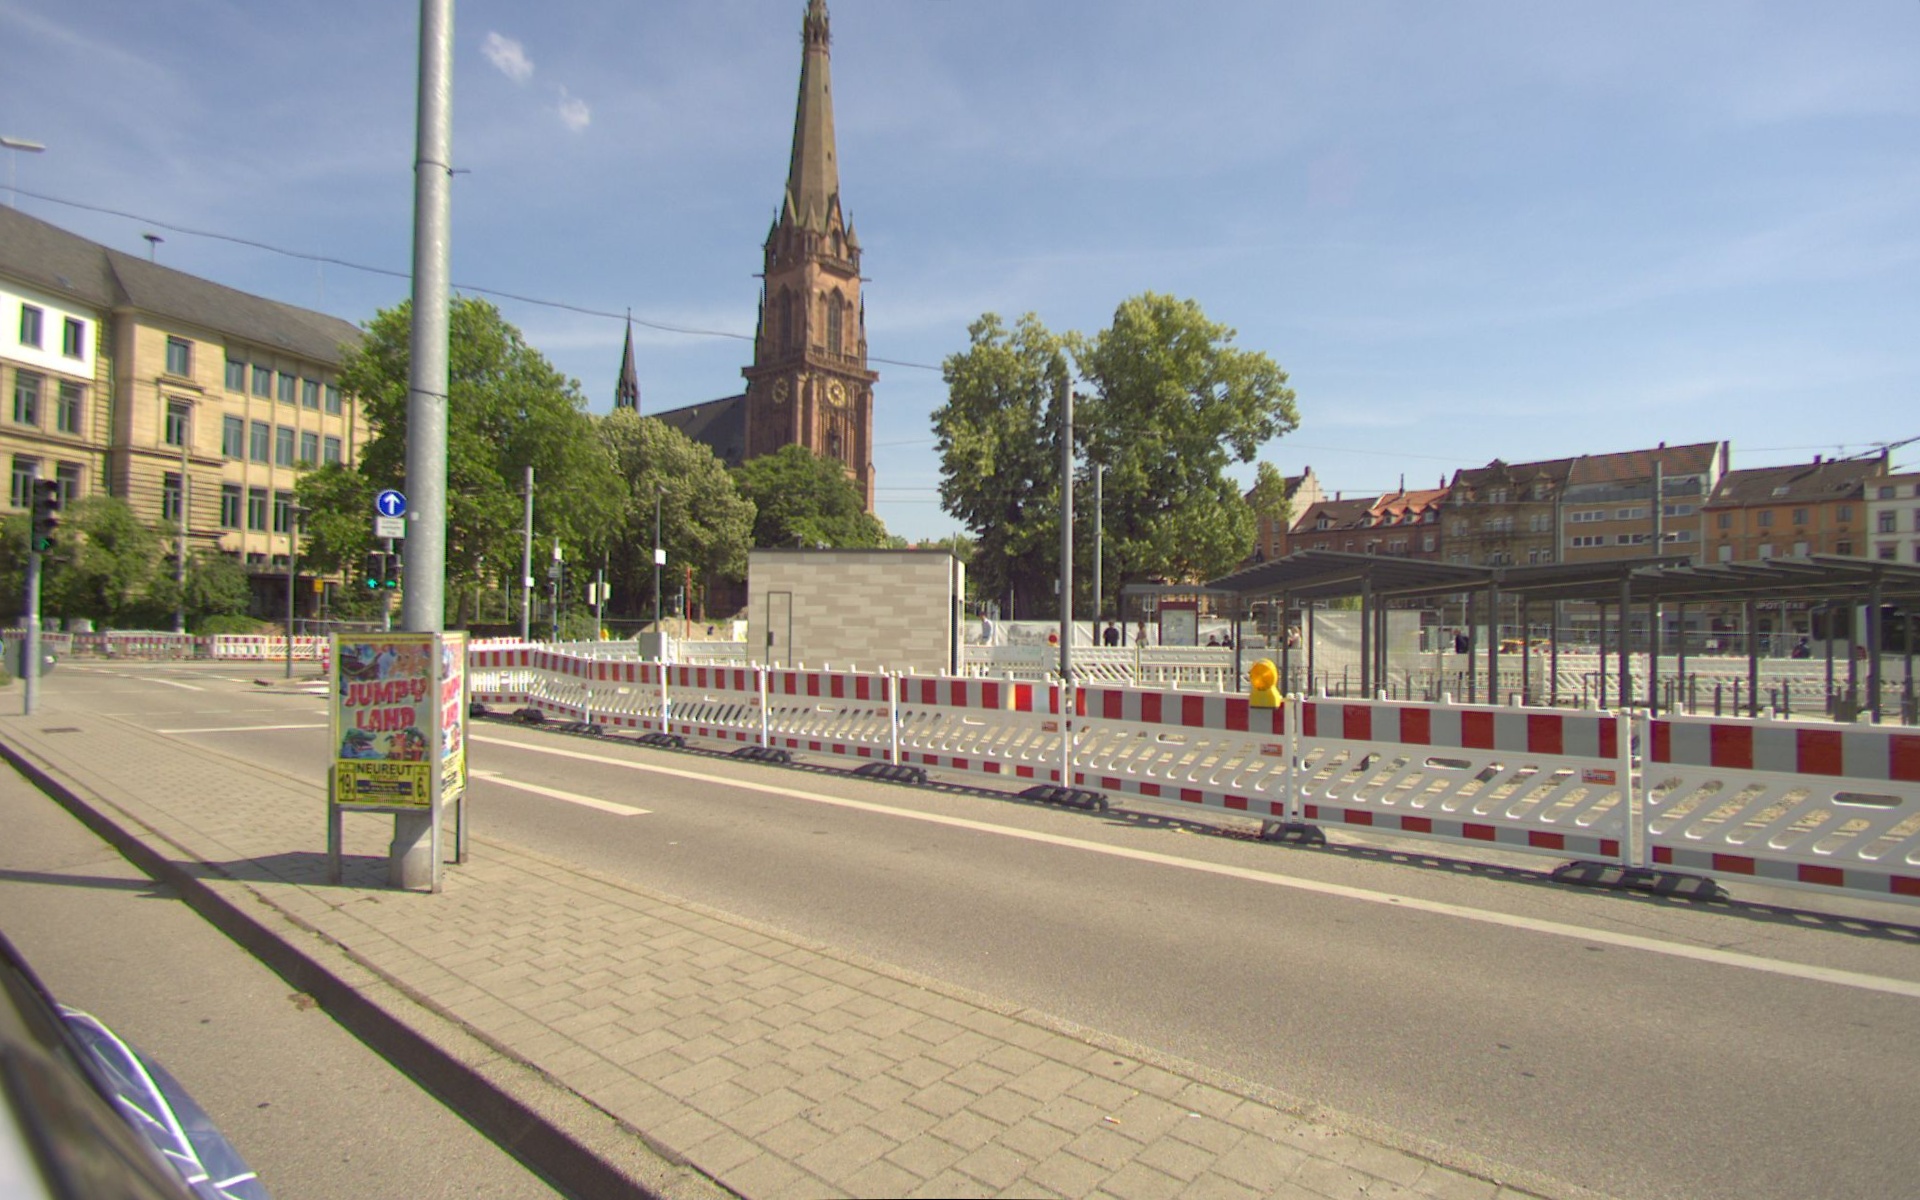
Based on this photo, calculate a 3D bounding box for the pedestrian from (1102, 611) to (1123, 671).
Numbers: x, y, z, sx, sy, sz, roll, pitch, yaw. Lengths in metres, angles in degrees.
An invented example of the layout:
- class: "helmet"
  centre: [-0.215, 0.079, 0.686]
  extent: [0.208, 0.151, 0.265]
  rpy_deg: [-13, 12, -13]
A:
- class: "pedestrian"
  centre: [5.231, 1.393, 34.702]
  extent: [0.678, 2.029, 0.819]
  rpy_deg: [0, -2, 7]

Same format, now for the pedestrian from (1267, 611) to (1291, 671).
- class: "pedestrian"
  centre: [10.842, 1.393, 34.370]
  extent: [0.679, 2.029, 0.818]
  rpy_deg: [0, -2, 11]

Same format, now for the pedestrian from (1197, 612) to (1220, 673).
- class: "pedestrian"
  centre: [8.334, 1.423, 33.957]
  extent: [0.679, 2.029, 0.818]
  rpy_deg: [0, -2, 11]

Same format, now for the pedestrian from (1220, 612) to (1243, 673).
- class: "pedestrian"
  centre: [9.081, 1.416, 33.901]
  extent: [0.679, 2.029, 0.818]
  rpy_deg: [0, -2, 11]

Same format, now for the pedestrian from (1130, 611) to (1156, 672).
- class: "pedestrian"
  centre: [6.234, 1.406, 34.540]
  extent: [0.810, 2.029, 0.685]
  rpy_deg: [1, -2, 6]

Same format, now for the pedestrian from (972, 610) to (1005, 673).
- class: "pedestrian"
  centre: [0.935, 1.372, 33.178]
  extent: [0.686, 2.029, 0.809]
  rpy_deg: [-1, -3, 43]

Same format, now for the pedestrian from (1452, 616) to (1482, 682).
- class: "pedestrian"
  centre: [15.842, 1.519, 31.625]
  extent: [0.680, 2.029, 0.816]
  rpy_deg: [0, -2, 16]

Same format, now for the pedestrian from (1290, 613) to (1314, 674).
- class: "pedestrian"
  centre: [11.658, 1.476, 34.529]
  extent: [0.679, 2.029, 0.818]
  rpy_deg: [0, -2, 11]
